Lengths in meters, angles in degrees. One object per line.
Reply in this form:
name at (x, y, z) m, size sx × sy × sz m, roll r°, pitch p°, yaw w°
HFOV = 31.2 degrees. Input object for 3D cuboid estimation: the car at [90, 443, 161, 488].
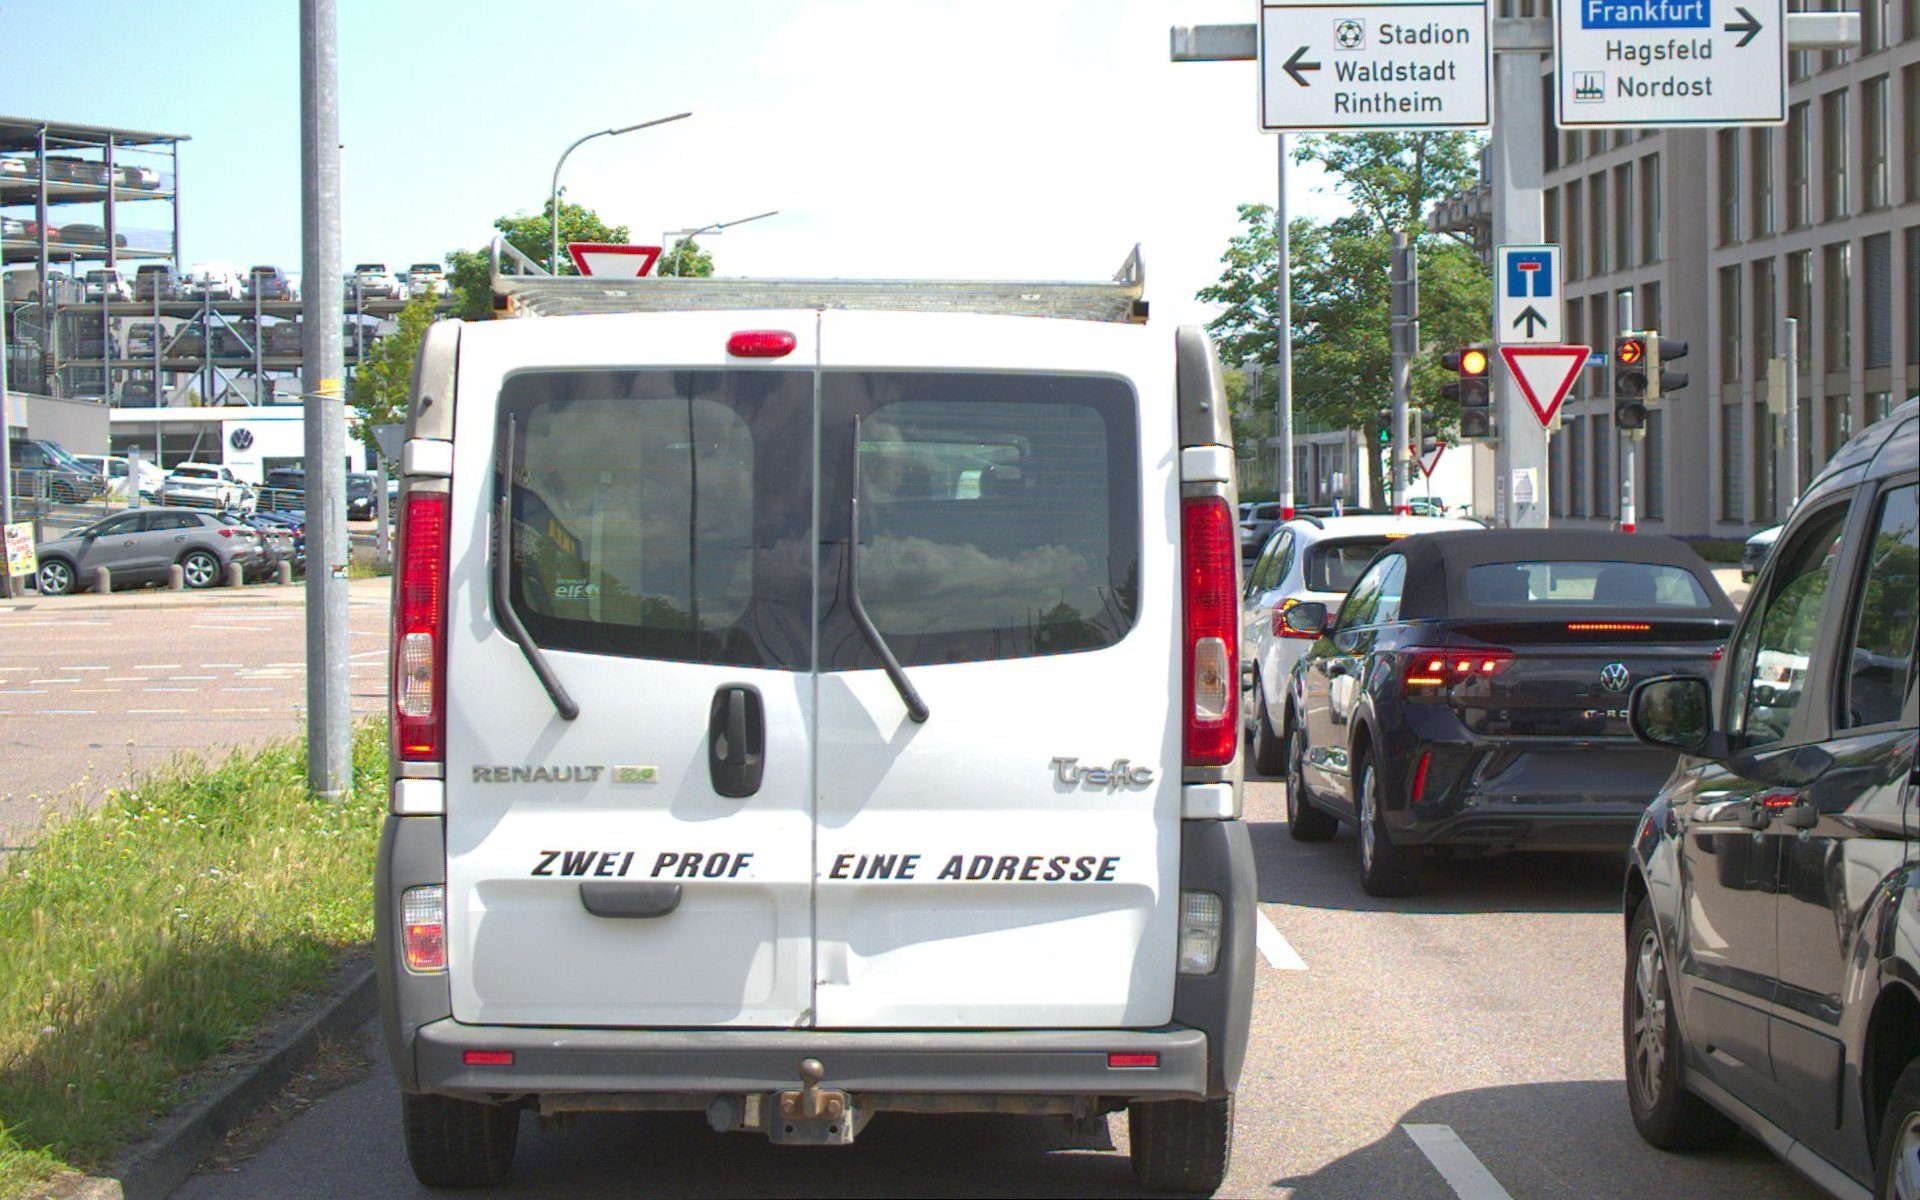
car at (-29.030, -4.671, 119.685) m, size 1.845 × 1.524 × 4.001 m, roll 0°, pitch 2°, yaw -5°

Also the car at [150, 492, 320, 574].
car at (-16.322, -1.519, 77.488) m, size 3.507 × 1.707 × 1.604 m, roll -2°, pitch 2°, yaw -4°

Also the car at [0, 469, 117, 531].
car at (-25.798, -2.800, 96.046) m, size 4.164 × 1.707 × 1.689 m, roll 0°, pitch 1°, yaw -6°

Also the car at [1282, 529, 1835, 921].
car at (2.495, 0.448, 15.260) m, size 1.740 × 1.490 × 4.000 m, roll 1°, pitch 1°, yaw 0°

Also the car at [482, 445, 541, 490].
car at (-15.566, -4.598, 119.396) m, size 1.845 × 1.524 × 4.001 m, roll 0°, pitch 2°, yaw -5°

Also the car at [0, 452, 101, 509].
car at (-28.709, -3.686, 105.897) m, size 4.164 × 1.707 × 1.689 m, roll 0°, pitch 1°, yaw -6°

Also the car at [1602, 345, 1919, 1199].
car at (2.492, 0.471, 6.771) m, size 1.820 × 1.802 × 4.000 m, roll 1°, pitch 2°, yaw 2°

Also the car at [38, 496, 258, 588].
car at (-15.791, -1.142, 67.002) m, size 3.861 × 1.633 × 1.858 m, roll -2°, pitch 2°, yaw -4°

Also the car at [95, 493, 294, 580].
car at (-16.389, -1.369, 73.750) m, size 3.912 × 1.707 × 1.689 m, roll -2°, pitch 2°, yaw -4°

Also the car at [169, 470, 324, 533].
car at (-20.256, -2.804, 97.693) m, size 4.164 × 1.707 × 1.689 m, roll 1°, pitch 2°, yaw -6°

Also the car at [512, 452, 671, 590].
car at (-6.346, -1.416, 59.783) m, size 1.971 × 2.248 × 4.981 m, roll -2°, pitch 2°, yaw 2°

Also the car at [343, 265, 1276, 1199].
car at (-0.263, 0.303, 8.891) m, size 1.856 × 2.011 × 4.000 m, roll 1°, pitch 1°, yaw 1°

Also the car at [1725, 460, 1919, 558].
car at (15.631, -1.542, 57.930) m, size 4.982 × 1.602 × 2.000 m, roll 0°, pitch 2°, yaw -3°

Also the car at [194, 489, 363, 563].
car at (-16.981, -1.853, 85.757) m, size 3.912 × 1.707 × 1.689 m, roll -2°, pitch 2°, yaw -4°

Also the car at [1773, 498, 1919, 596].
car at (14.904, -0.842, 53.790) m, size 3.893 × 1.485 × 1.795 m, roll 0°, pitch 2°, yaw -1°

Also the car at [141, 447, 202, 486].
car at (-31.754, -5.367, 138.503) m, size 1.845 × 1.524 × 4.001 m, roll 0°, pitch 2°, yaw -5°

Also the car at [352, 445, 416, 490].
car at (-19.927, -4.597, 119.044) m, size 1.845 × 1.524 × 4.001 m, roll 0°, pitch 2°, yaw -5°

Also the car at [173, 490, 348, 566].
car at (-16.857, -1.748, 82.969) m, size 3.912 × 1.707 × 1.689 m, roll -2°, pitch 2°, yaw -4°

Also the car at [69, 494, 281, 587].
car at (-15.814, -1.213, 69.377) m, size 3.912 × 1.707 × 1.689 m, roll -2°, pitch 2°, yaw -4°

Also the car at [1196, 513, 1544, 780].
car at (2.529, 0.234, 22.072) m, size 1.740 × 1.538 × 4.000 m, roll 1°, pitch 1°, yaw 0°

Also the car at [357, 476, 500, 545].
car at (-15.192, -2.565, 98.396) m, size 3.986 × 1.919 × 1.827 m, roll 0°, pitch 1°, yaw -7°
